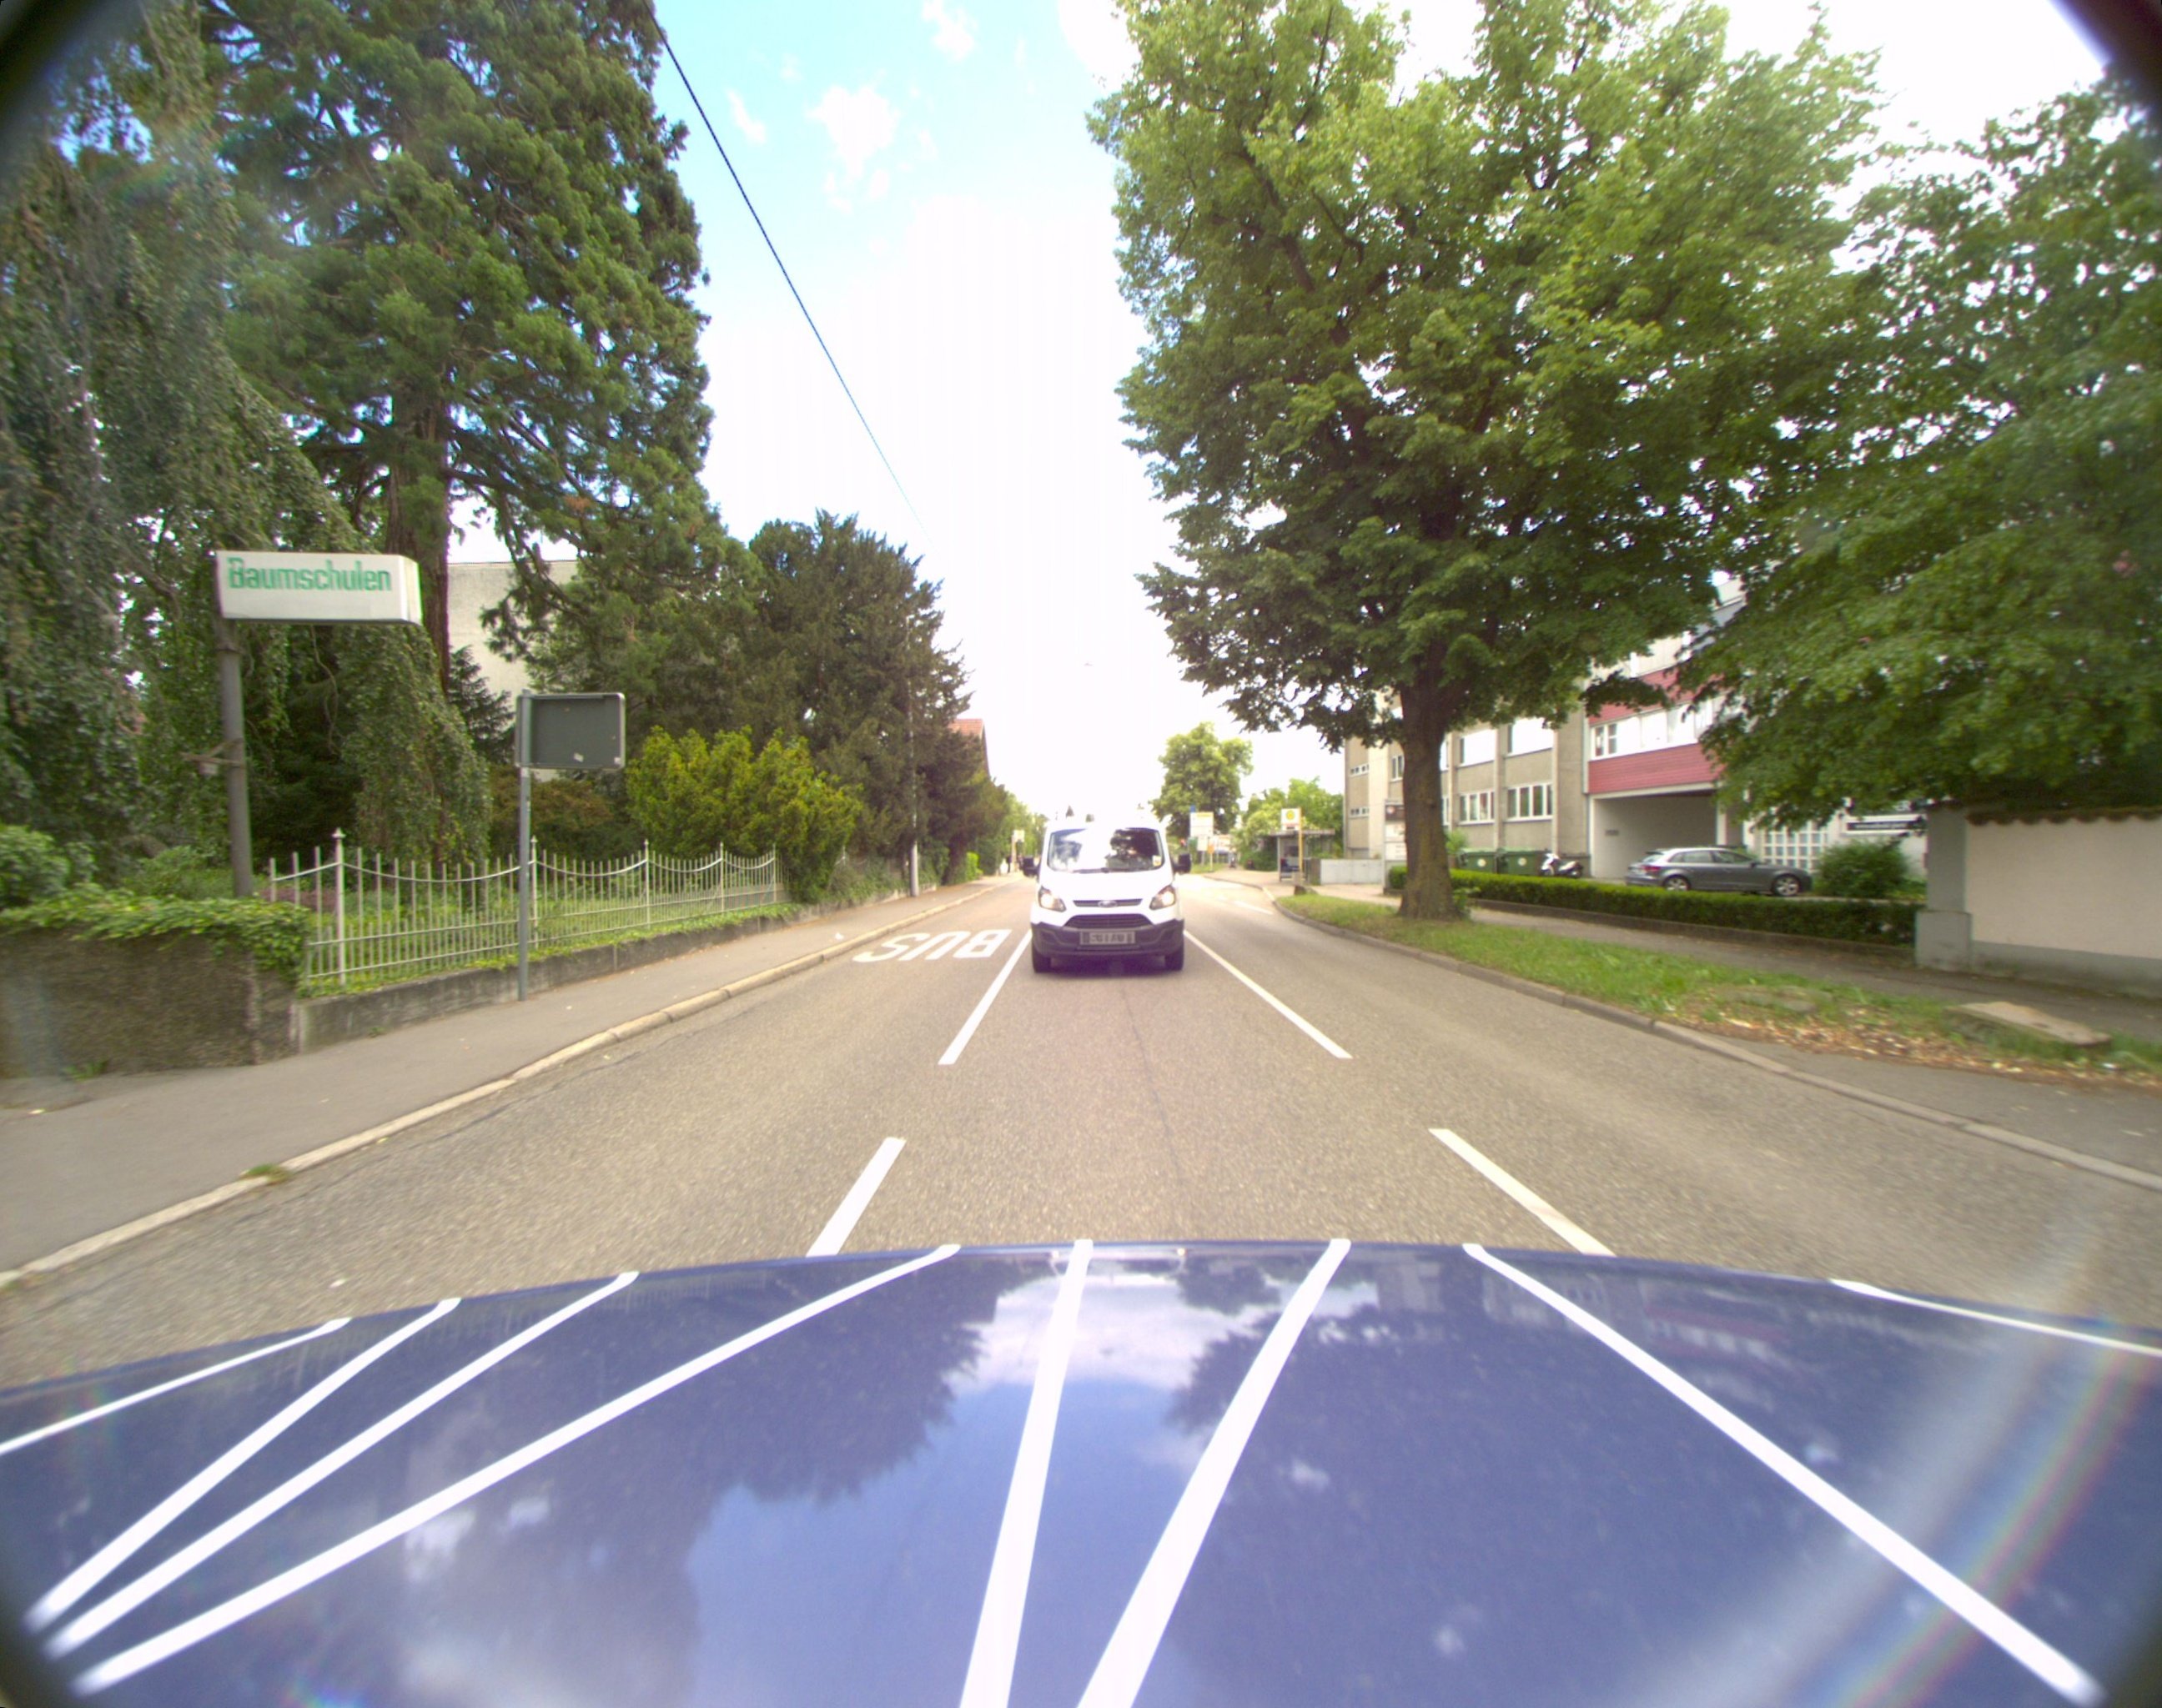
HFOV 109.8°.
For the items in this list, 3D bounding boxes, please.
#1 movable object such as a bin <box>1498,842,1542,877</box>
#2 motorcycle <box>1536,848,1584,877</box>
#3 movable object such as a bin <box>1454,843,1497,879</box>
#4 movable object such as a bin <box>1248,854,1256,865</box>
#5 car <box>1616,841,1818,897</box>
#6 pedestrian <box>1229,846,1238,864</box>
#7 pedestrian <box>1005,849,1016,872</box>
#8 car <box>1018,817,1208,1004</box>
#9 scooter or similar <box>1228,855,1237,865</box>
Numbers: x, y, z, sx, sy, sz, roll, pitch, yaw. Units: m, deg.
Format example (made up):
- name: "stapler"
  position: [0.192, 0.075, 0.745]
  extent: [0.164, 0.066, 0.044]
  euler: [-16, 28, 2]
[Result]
- name: "movable object such as a bin"
  position: [18.716, 0.223, 32.396]
  extent: [1.365, 1.457, 0.885]
  euler: [-2, 1, 1]
- name: "motorcycle"
  position: [20.439, 0.357, 32.452]
  extent: [1.645, 1.133, 0.639]
  euler: [-2, 1, 1]
- name: "movable object such as a bin"
  position: [16.851, 0.287, 32.474]
  extent: [1.301, 1.457, 0.992]
  euler: [-2, 1, 1]
- name: "movable object such as a bin"
  position: [13.676, 0.443, 60.749]
  extent: [0.566, 0.922, 0.608]
  euler: [-1, 2, 16]
- name: "car"
  position: [18.387, 0.419, 22.187]
  extent: [4.143, 1.471, 1.814]
  euler: [-2, 1, 15]
- name: "pedestrian"
  position: [13.150, 0.091, 65.370]
  extent: [0.672, 1.549, 0.520]
  euler: [-1, 2, 18]
- name: "pedestrian"
  position: [-5.485, 0.479, 58.924]
  extent: [0.488, 1.757, 0.672]
  euler: [-1, 2, 32]
- name: "car"
  position: [0.313, 0.560, 11.076]
  extent: [1.999, 1.961, 5.713]
  euler: [-2, 1, -1]
- name: "scooter or similar"
  position: [12.844, 0.507, 64.455]
  extent: [0.607, 0.782, 0.860]
  euler: [-1, 1, 17]
